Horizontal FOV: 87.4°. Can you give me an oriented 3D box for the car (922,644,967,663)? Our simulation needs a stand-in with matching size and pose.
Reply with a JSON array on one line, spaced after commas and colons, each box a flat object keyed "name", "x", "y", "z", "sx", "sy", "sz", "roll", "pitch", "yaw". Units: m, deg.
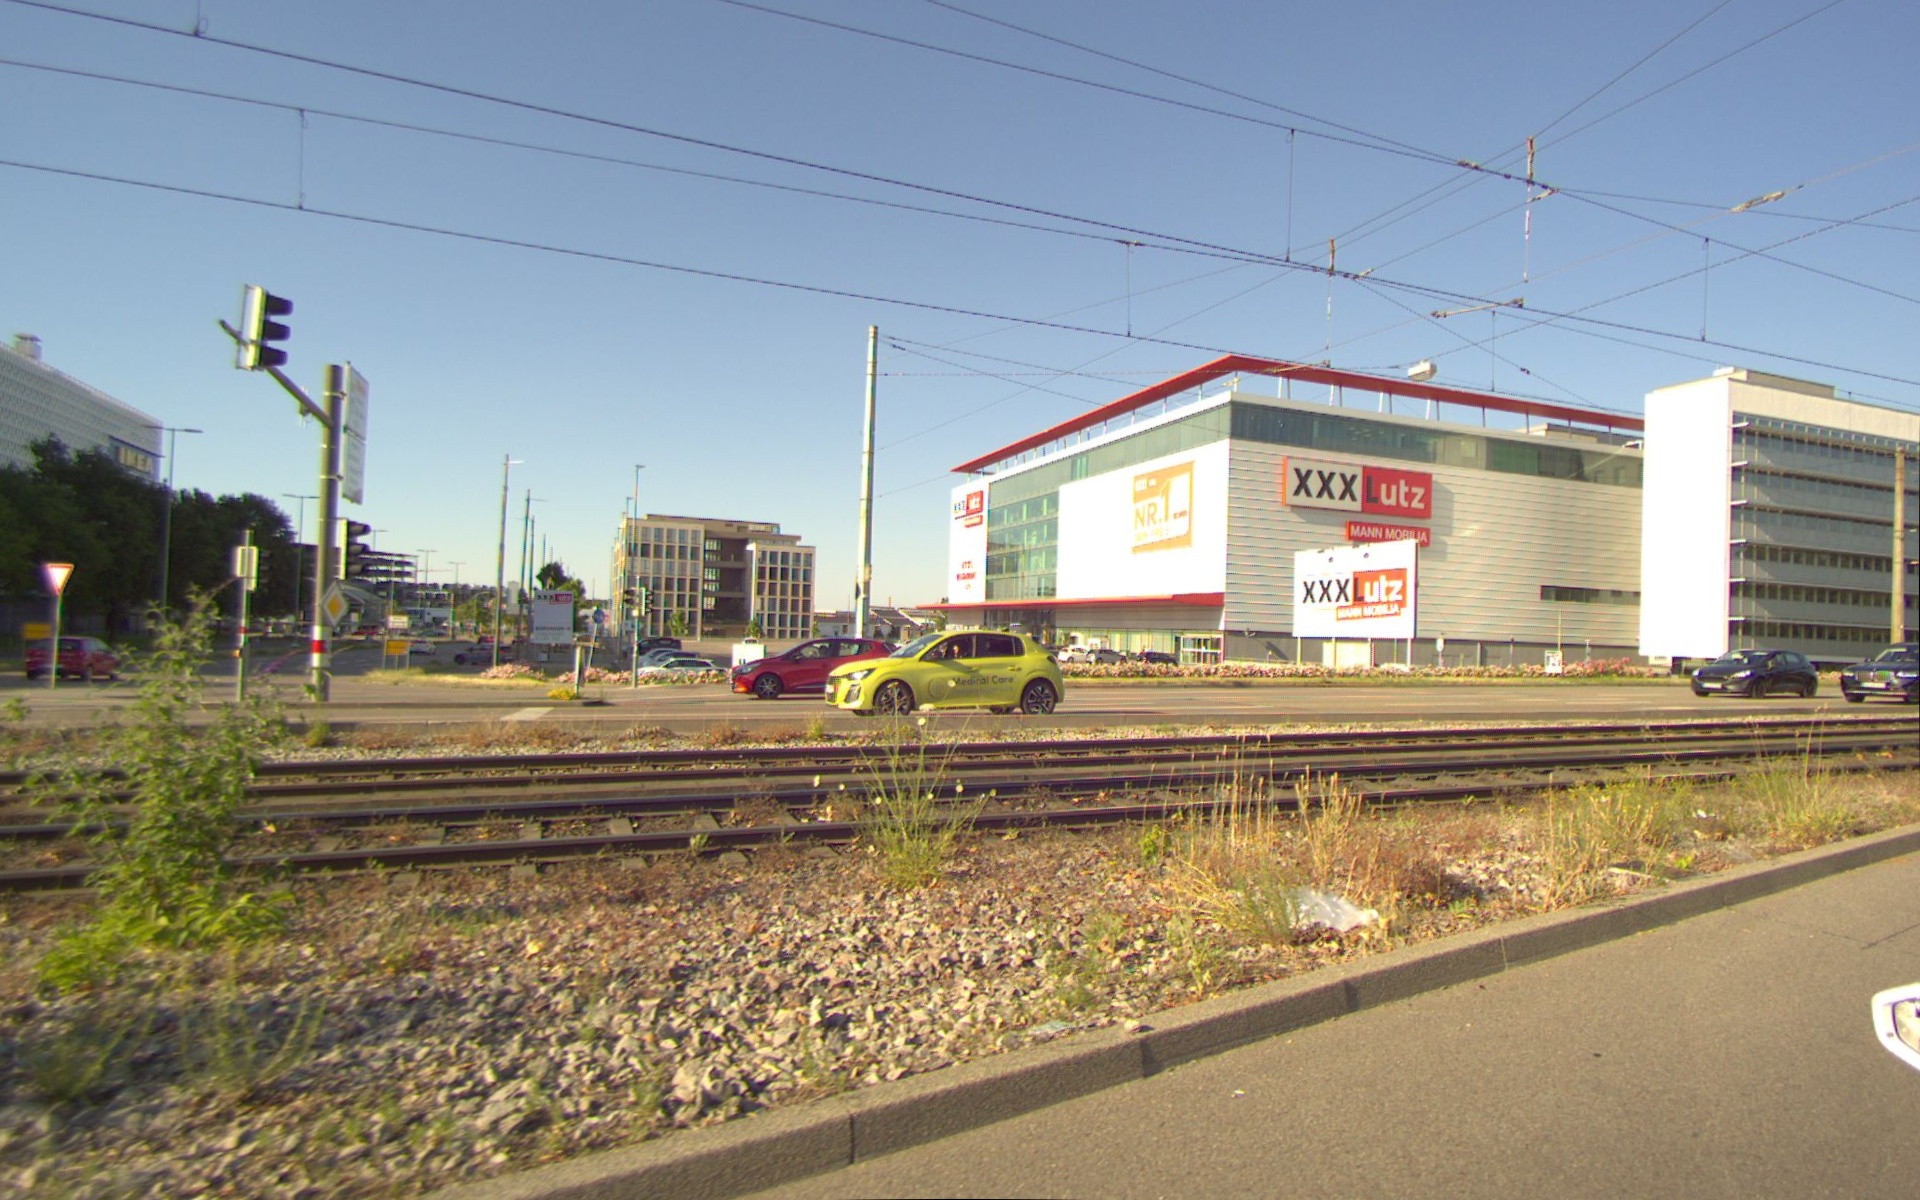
[{"name": "car", "x": -1.538, "y": 5.220, "z": 98.163, "sx": 3.944, "sy": 1.725, "sz": 1.969, "roll": 2, "pitch": 1, "yaw": -24}]

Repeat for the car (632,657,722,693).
[{"name": "car", "x": -15.387, "y": 4.079, "z": 54.683, "sx": 4.361, "sy": 1.733, "sz": 1.986, "roll": 2, "pitch": 1, "yaw": -28}]

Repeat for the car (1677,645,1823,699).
[{"name": "car", "x": 23.778, "y": 2.139, "z": 30.227, "sx": 4.081, "sy": 1.480, "sz": 1.851, "roll": 2, "pitch": -1, "yaw": -25}]

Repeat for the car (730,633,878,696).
[{"name": "car", "x": -4.319, "y": 1.785, "z": 28.062, "sx": 3.927, "sy": 1.664, "sz": 1.825, "roll": 1, "pitch": -3, "yaw": -8}]

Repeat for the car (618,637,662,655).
[{"name": "car", "x": -31.203, "y": 4.508, "z": 97.964, "sx": 3.942, "sy": 1.677, "sz": 1.990, "roll": 2, "pitch": -2, "yaw": -22}]

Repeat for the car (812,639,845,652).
[{"name": "car", "x": -16.989, "y": 5.886, "z": 129.919, "sx": 3.940, "sy": 1.468, "sz": 1.870, "roll": 2, "pitch": 1, "yaw": -21}]

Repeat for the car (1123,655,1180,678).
[{"name": "car", "x": 16.121, "y": 5.599, "z": 84.696, "sx": 4.387, "sy": 1.725, "sz": 1.916, "roll": 2, "pitch": 1, "yaw": -24}]

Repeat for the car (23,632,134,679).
[{"name": "car", "x": -30.091, "y": 1.931, "z": 34.426, "sx": 1.747, "sy": 1.478, "sz": 3.567, "roll": 3, "pitch": -4, "yaw": -23}]

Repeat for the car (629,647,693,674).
[{"name": "car", "x": -20.400, "y": 4.128, "z": 68.520, "sx": 3.948, "sy": 1.614, "sz": 1.922, "roll": 2, "pitch": 1, "yaw": -27}]

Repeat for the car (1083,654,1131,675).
[{"name": "car", "x": 13.614, "y": 5.953, "z": 92.905, "sx": 3.944, "sy": 1.725, "sz": 1.916, "roll": 2, "pitch": 1, "yaw": -24}]

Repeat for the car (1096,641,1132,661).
[{"name": "car", "x": 15.824, "y": 5.224, "z": 103.307, "sx": 3.241, "sy": 1.880, "sz": 1.503, "roll": 2, "pitch": 1, "yaw": -21}]

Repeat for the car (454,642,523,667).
[{"name": "car", "x": -34.799, "y": 4.022, "z": 74.231, "sx": 4.163, "sy": 1.589, "sz": 1.909, "roll": 2, "pitch": 1, "yaw": 2}]

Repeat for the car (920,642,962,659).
[{"name": "car", "x": -2.024, "y": 5.351, "z": 106.693, "sx": 3.948, "sy": 1.640, "sz": 1.867, "roll": 2, "pitch": 1, "yaw": -27}]

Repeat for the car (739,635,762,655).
[{"name": "car", "x": -23.250, "y": 4.965, "z": 111.378, "sx": 1.799, "sy": 1.824, "sz": 4.210, "roll": 2, "pitch": 1, "yaw": -20}]

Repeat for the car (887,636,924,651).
[{"name": "car", "x": -6.434, "y": 5.139, "z": 119.189, "sx": 3.952, "sy": 1.640, "sz": 1.865, "roll": 2, "pitch": 1, "yaw": -29}]

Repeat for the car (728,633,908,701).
[{"name": "car", "x": -3.447, "y": 1.621, "z": 24.176, "sx": 4.063, "sy": 1.495, "sz": 1.936, "roll": 2, "pitch": -4, "yaw": -15}]

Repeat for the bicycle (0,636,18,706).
[{"name": "bicycle", "x": -17.480, "y": 1.207, "z": 17.109, "sx": 1.963, "sy": 1.183, "sz": 0.586, "roll": 2, "pitch": -1, "yaw": -22}]

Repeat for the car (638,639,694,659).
[{"name": "car", "x": -25.489, "y": 4.214, "z": 87.035, "sx": 4.383, "sy": 1.573, "sz": 1.660, "roll": 2, "pitch": 1, "yaw": -28}]

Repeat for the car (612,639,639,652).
[{"name": "car", "x": -53.199, "y": 7.204, "z": 159.833, "sx": 3.942, "sy": 1.805, "sz": 1.989, "roll": 2, "pitch": 1, "yaw": -22}]

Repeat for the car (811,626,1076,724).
[{"name": "car", "x": -0.276, "y": 1.229, "z": 16.706, "sx": 4.049, "sy": 1.466, "sz": 1.780, "roll": 2, "pitch": -3, "yaw": -23}]

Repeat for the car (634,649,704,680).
[{"name": "car", "x": -18.463, "y": 4.102, "z": 63.790, "sx": 3.948, "sy": 1.768, "sz": 1.922, "roll": 2, "pitch": 1, "yaw": -27}]

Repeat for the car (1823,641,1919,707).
[{"name": "car", "x": 26.138, "y": 1.993, "z": 27.492, "sx": 4.591, "sy": 1.677, "sz": 1.990, "roll": 2, "pitch": -2, "yaw": -23}]
